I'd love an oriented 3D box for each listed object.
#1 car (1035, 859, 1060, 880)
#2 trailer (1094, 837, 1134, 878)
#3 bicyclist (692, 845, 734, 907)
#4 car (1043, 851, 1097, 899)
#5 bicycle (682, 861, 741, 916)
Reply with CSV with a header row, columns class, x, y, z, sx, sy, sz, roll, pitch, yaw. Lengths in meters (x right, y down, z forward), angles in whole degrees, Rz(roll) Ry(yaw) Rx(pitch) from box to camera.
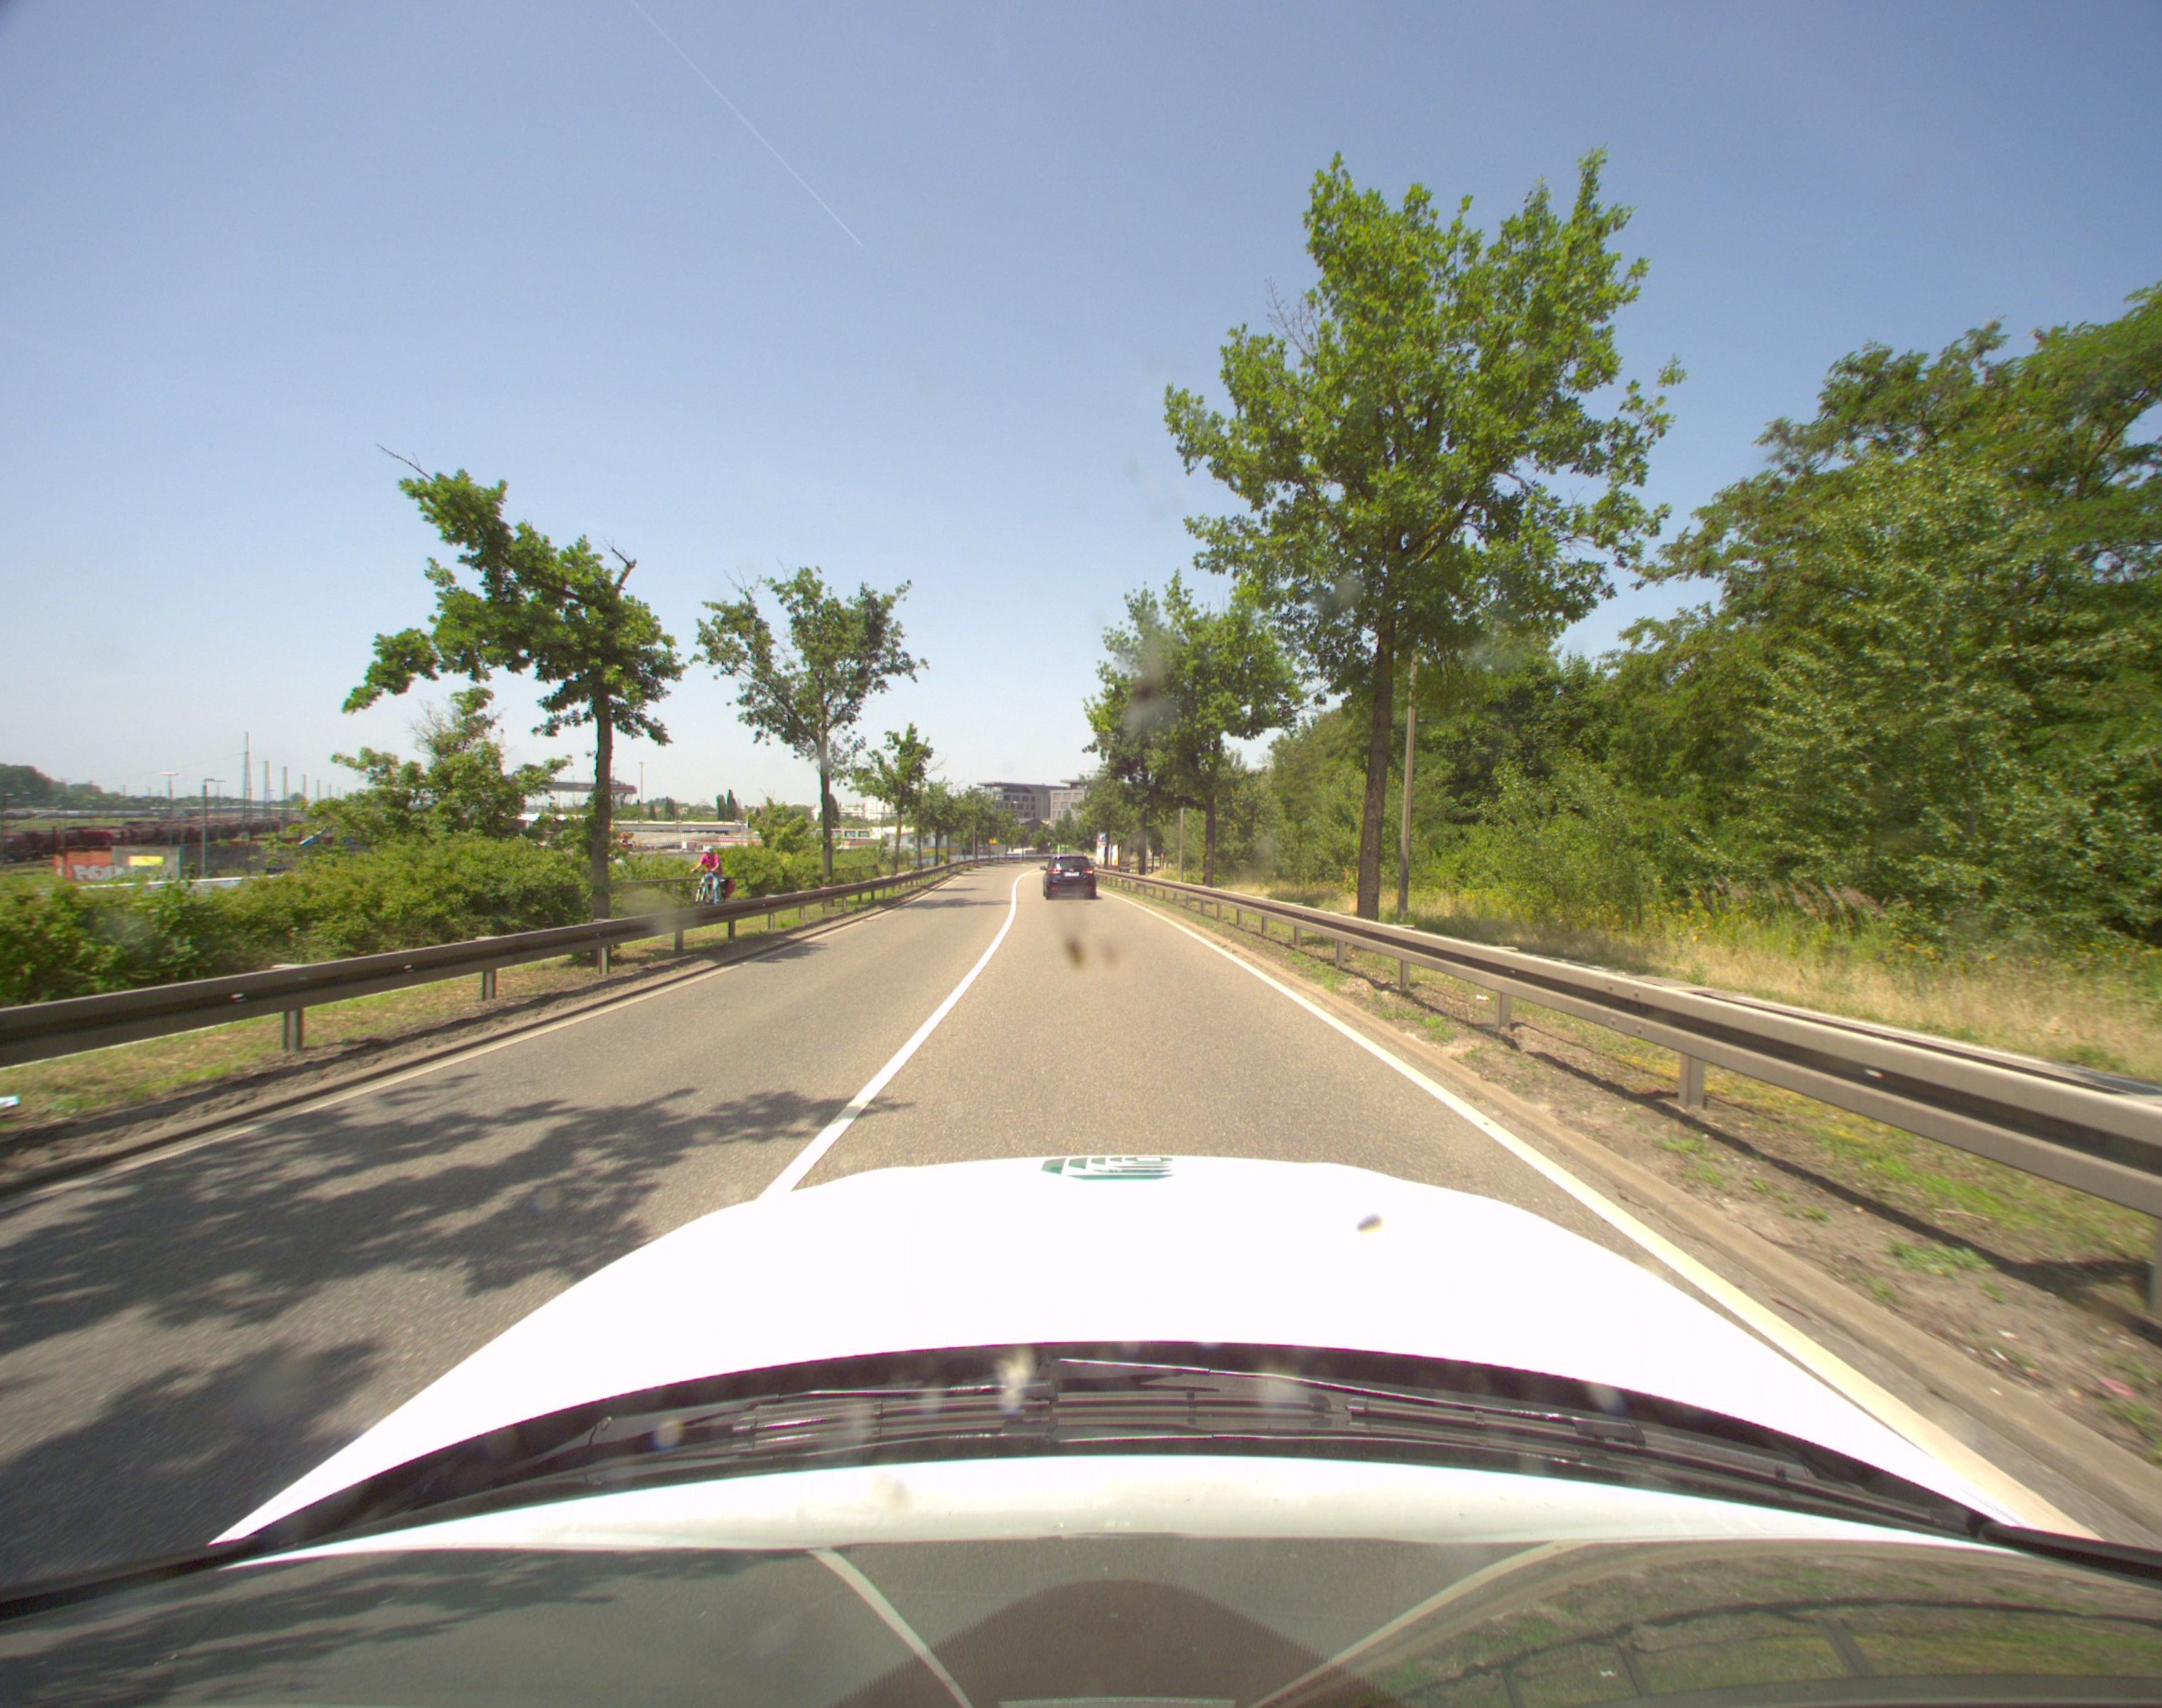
class,x,y,z,sx,sy,sz,roll,pitch,yaw
car,-2.722,1.271,67.351,1.951,1.633,4.278,0,0,-1
trailer,4.100,0.264,95.886,3.061,4.368,14.810,1,1,8
bicyclist,-9.023,0.525,20.012,0.741,1.489,0.755,0,0,-7
car,-0.468,0.722,29.609,1.764,1.599,4.071,0,-1,-4
bicycle,-9.039,0.814,20.015,0.733,1.281,2.041,0,0,-7
